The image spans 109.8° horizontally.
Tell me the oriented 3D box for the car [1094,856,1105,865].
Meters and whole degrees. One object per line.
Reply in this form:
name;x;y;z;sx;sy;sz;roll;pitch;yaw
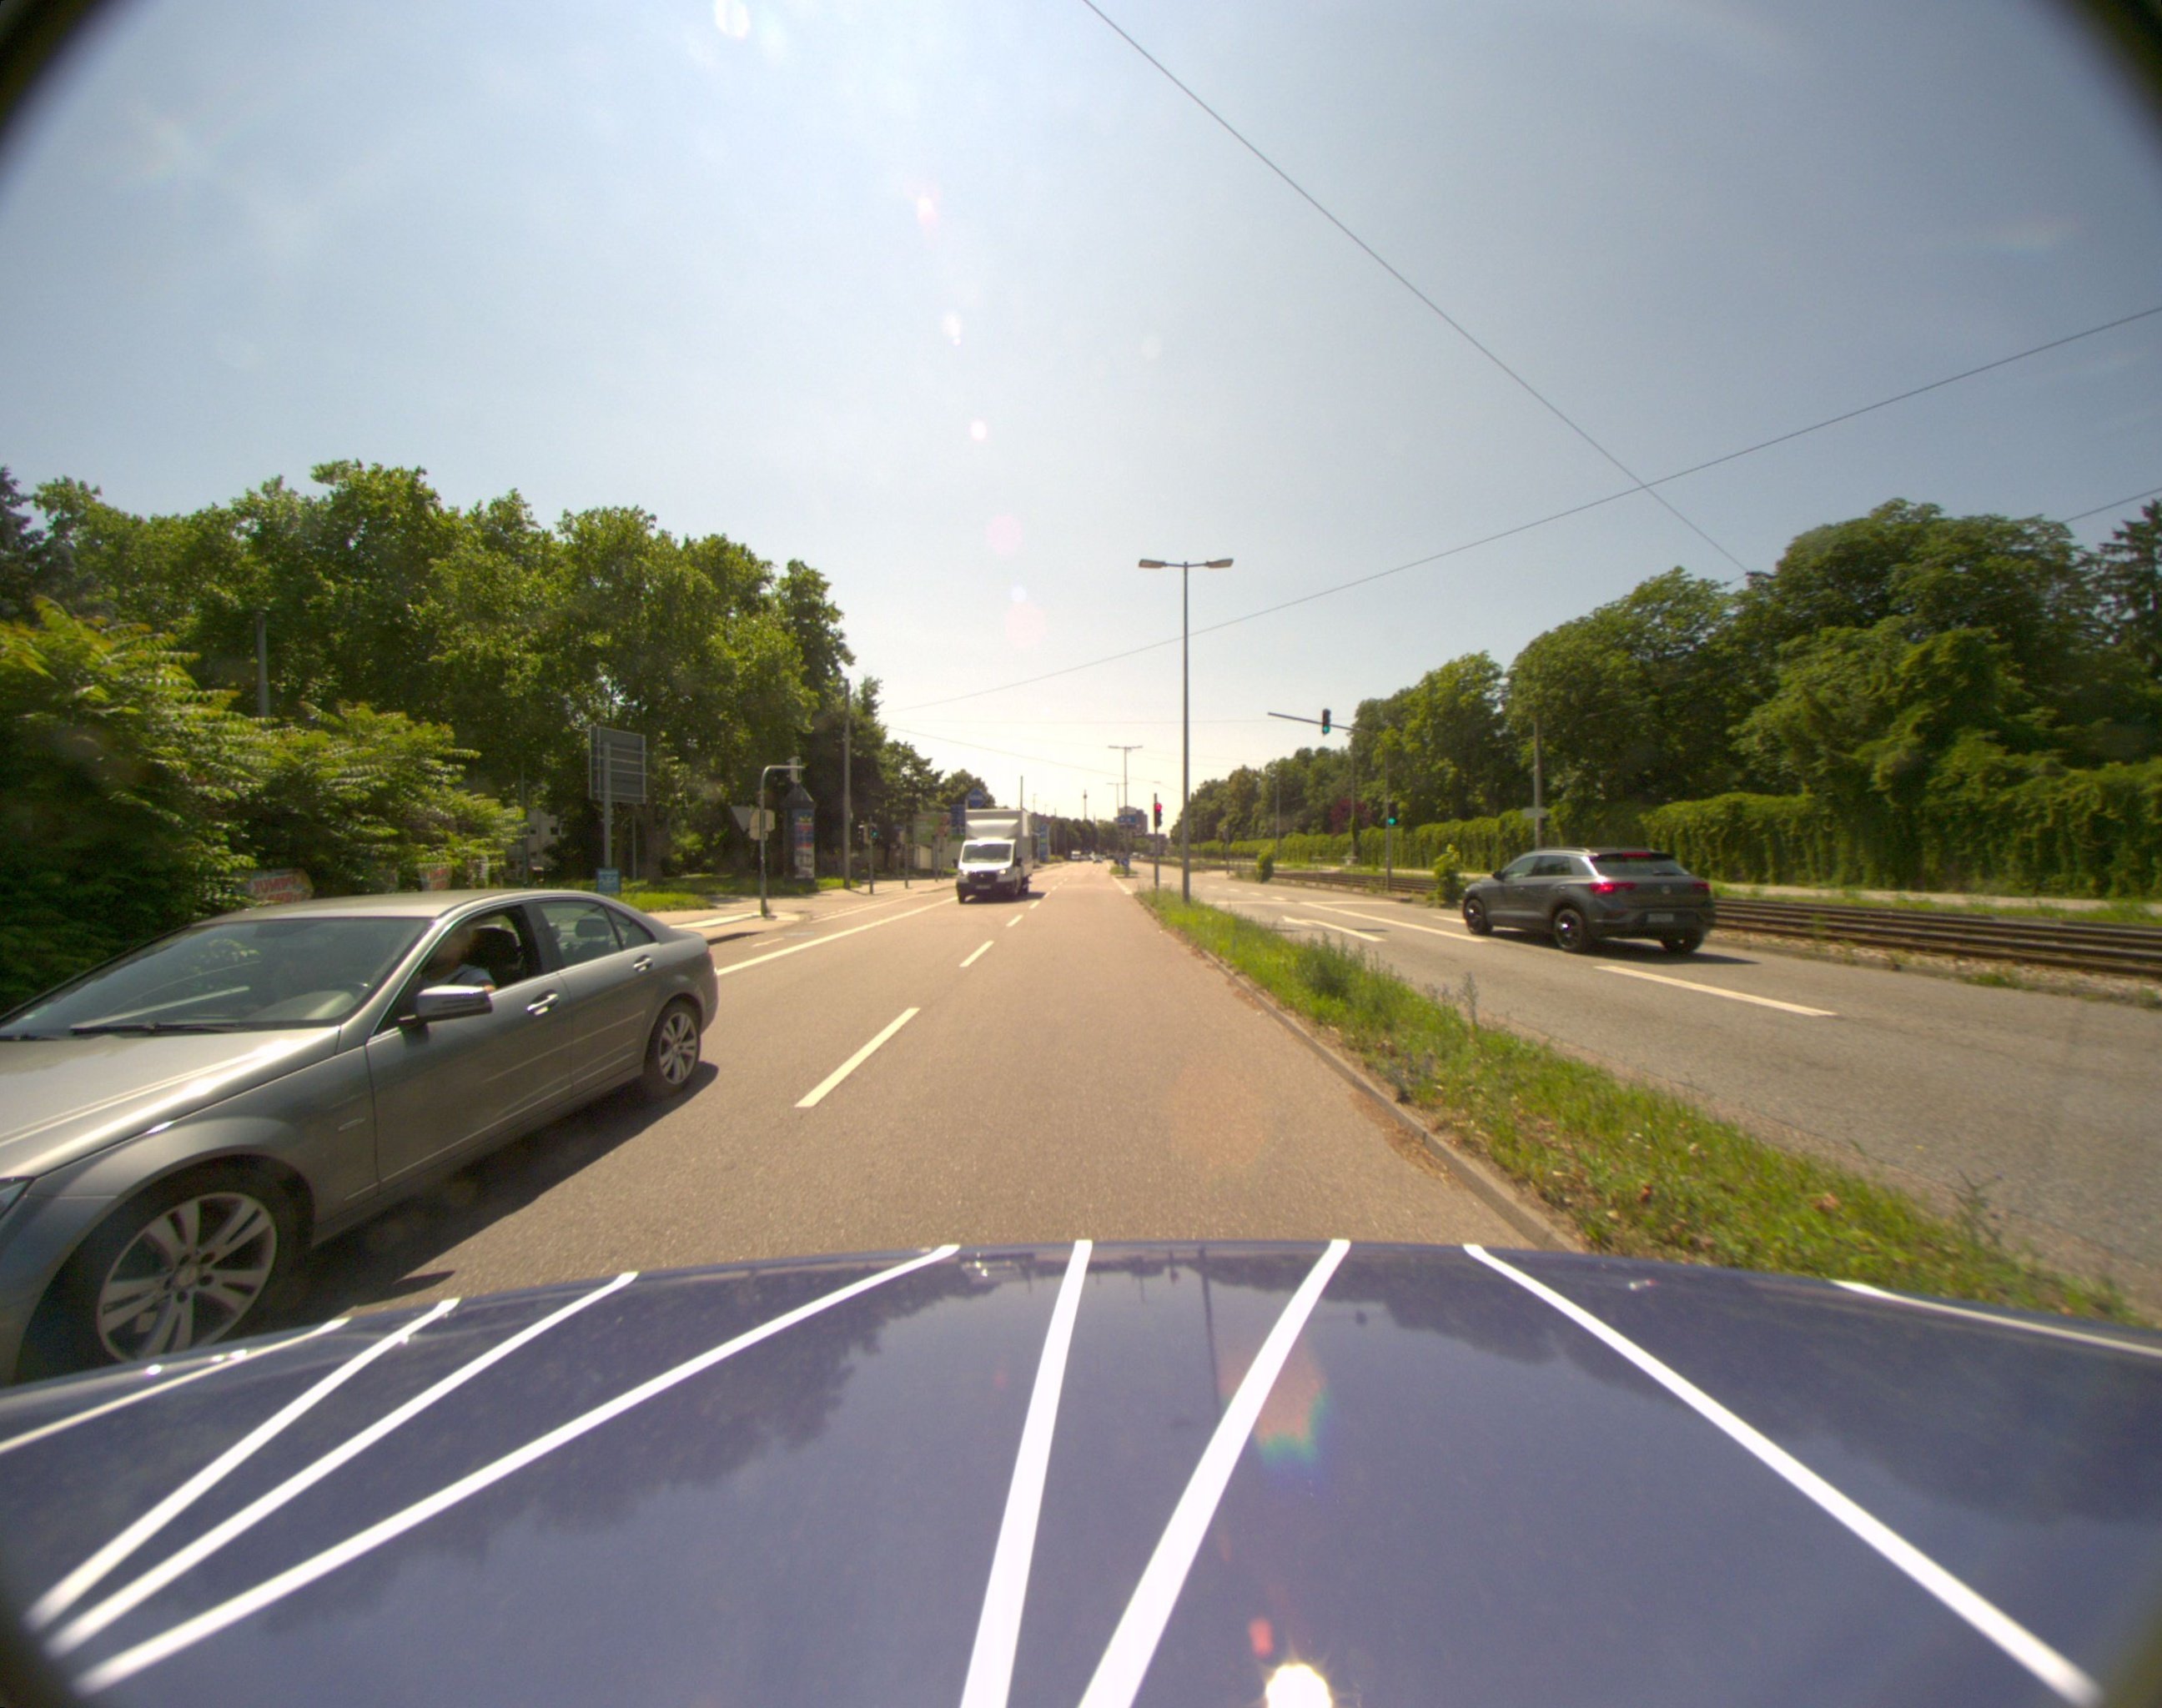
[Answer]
car;3.483;1.209;145.055;1.947;1.674;4.000;-3;1;0

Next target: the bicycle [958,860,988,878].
bicycle;-7.404;1.050;52.308;1.955;1.152;0.894;-1;1;-4

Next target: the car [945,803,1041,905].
car;-3.142;0.007;29.554;2.229;3.316;8.637;-2;0;3

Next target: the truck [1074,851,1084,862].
truck;-0.506;0.626;181.813;1.998;2.462;5.237;-3;1;2

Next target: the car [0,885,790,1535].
car;-3.561;1.042;4.159;1.717;1.464;5.302;-3;0;1

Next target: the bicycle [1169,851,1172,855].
bicycle;24.561;-0.222;207.720;0.617;1.049;1.978;-2;1;4

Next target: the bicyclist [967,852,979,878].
bicyclist;-7.449;0.737;52.314;0.726;1.777;0.976;-1;1;-4

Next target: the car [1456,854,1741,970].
car;7.833;0.766;12.053;1.702;1.504;4.065;-1;0;-1
